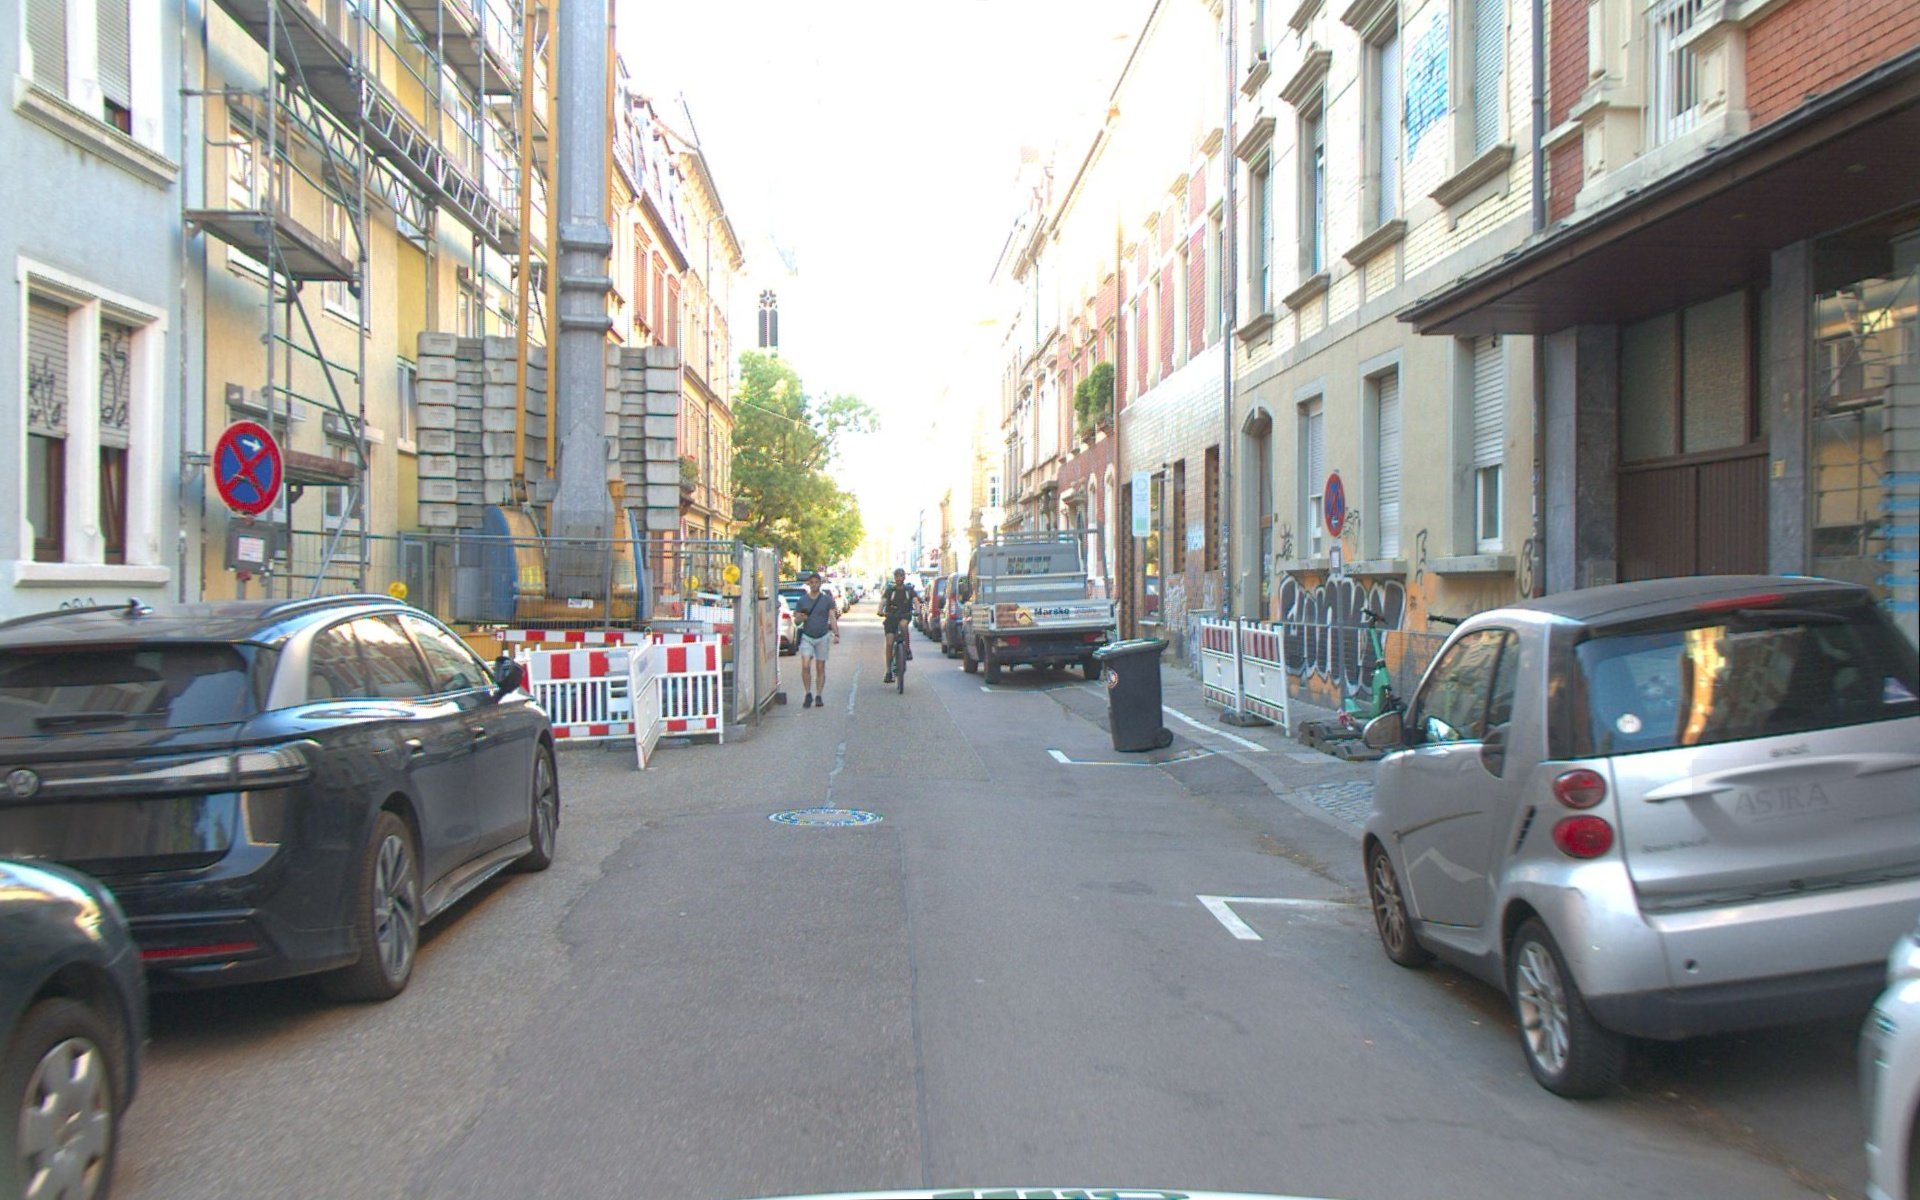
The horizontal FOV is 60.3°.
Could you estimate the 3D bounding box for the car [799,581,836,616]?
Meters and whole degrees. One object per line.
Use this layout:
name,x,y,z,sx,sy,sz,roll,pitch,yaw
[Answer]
car,-7.959,-0.085,92.826,1.954,1.881,3.997,-1,0,-4

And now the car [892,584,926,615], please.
car,-3.186,-0.047,102.493,1.954,1.881,3.997,-1,0,-4

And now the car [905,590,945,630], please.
car,-1.932,0.510,89.514,1.954,2.049,3.997,-1,0,-4

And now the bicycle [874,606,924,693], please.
bicycle,-0.940,0.725,24.981,0.710,1.207,2.041,1,1,-3

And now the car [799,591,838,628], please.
car,-7.445,0.498,87.406,1.954,1.881,3.997,-1,0,-4

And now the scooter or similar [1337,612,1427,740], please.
scooter or similar,4.235,0.734,16.687,0.409,1.199,1.494,-2,0,-3

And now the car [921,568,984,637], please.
car,-0.264,0.066,51.647,1.642,2.066,3.865,-1,0,-5

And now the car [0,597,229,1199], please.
car,-2.764,0.774,2.400,1.641,1.538,4.412,-1,0,-3

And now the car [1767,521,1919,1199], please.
car,2.718,0.694,1.516,1.711,1.705,4.339,-1,0,-2

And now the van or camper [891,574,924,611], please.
van or camper,-3.767,-0.526,118.057,1.956,2.552,4.196,-1,0,-7

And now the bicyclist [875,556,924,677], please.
bicyclist,-0.919,0.233,24.978,0.716,1.792,0.835,0,1,-3

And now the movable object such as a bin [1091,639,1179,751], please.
movable object such as a bin,1.735,0.934,16.475,0.779,1.074,0.659,0,0,-3

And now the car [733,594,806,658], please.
car,-4.625,0.609,40.539,1.642,1.470,3.865,-1,0,-5

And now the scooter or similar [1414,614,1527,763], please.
scooter or similar,4.452,0.740,14.498,0.409,1.199,1.494,-2,0,-3

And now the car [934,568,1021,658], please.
car,0.355,0.298,39.172,1.642,1.997,4.104,-1,0,-5

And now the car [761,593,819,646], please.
car,-5.052,0.556,49.340,1.642,1.470,3.865,-1,0,-5

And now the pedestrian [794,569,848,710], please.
pedestrian,-1.781,0.496,21.216,0.644,1.763,0.719,-1,0,-4

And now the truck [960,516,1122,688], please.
truck,1.281,0.014,28.714,2.147,2.652,5.230,-1,0,-4

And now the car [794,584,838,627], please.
car,-5.651,0.198,64.688,1.642,1.598,3.865,-1,0,-5

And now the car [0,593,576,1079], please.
car,-2.983,0.738,7.464,1.641,1.503,4.605,-1,0,-3

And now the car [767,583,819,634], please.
car,-5.449,0.278,54.213,1.642,1.598,3.865,-1,0,-5

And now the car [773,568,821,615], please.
car,-5.846,-0.291,59.480,1.642,1.598,3.865,-1,0,-5

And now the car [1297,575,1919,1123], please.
car,2.584,0.711,6.740,1.564,1.587,3.813,0,0,-1
